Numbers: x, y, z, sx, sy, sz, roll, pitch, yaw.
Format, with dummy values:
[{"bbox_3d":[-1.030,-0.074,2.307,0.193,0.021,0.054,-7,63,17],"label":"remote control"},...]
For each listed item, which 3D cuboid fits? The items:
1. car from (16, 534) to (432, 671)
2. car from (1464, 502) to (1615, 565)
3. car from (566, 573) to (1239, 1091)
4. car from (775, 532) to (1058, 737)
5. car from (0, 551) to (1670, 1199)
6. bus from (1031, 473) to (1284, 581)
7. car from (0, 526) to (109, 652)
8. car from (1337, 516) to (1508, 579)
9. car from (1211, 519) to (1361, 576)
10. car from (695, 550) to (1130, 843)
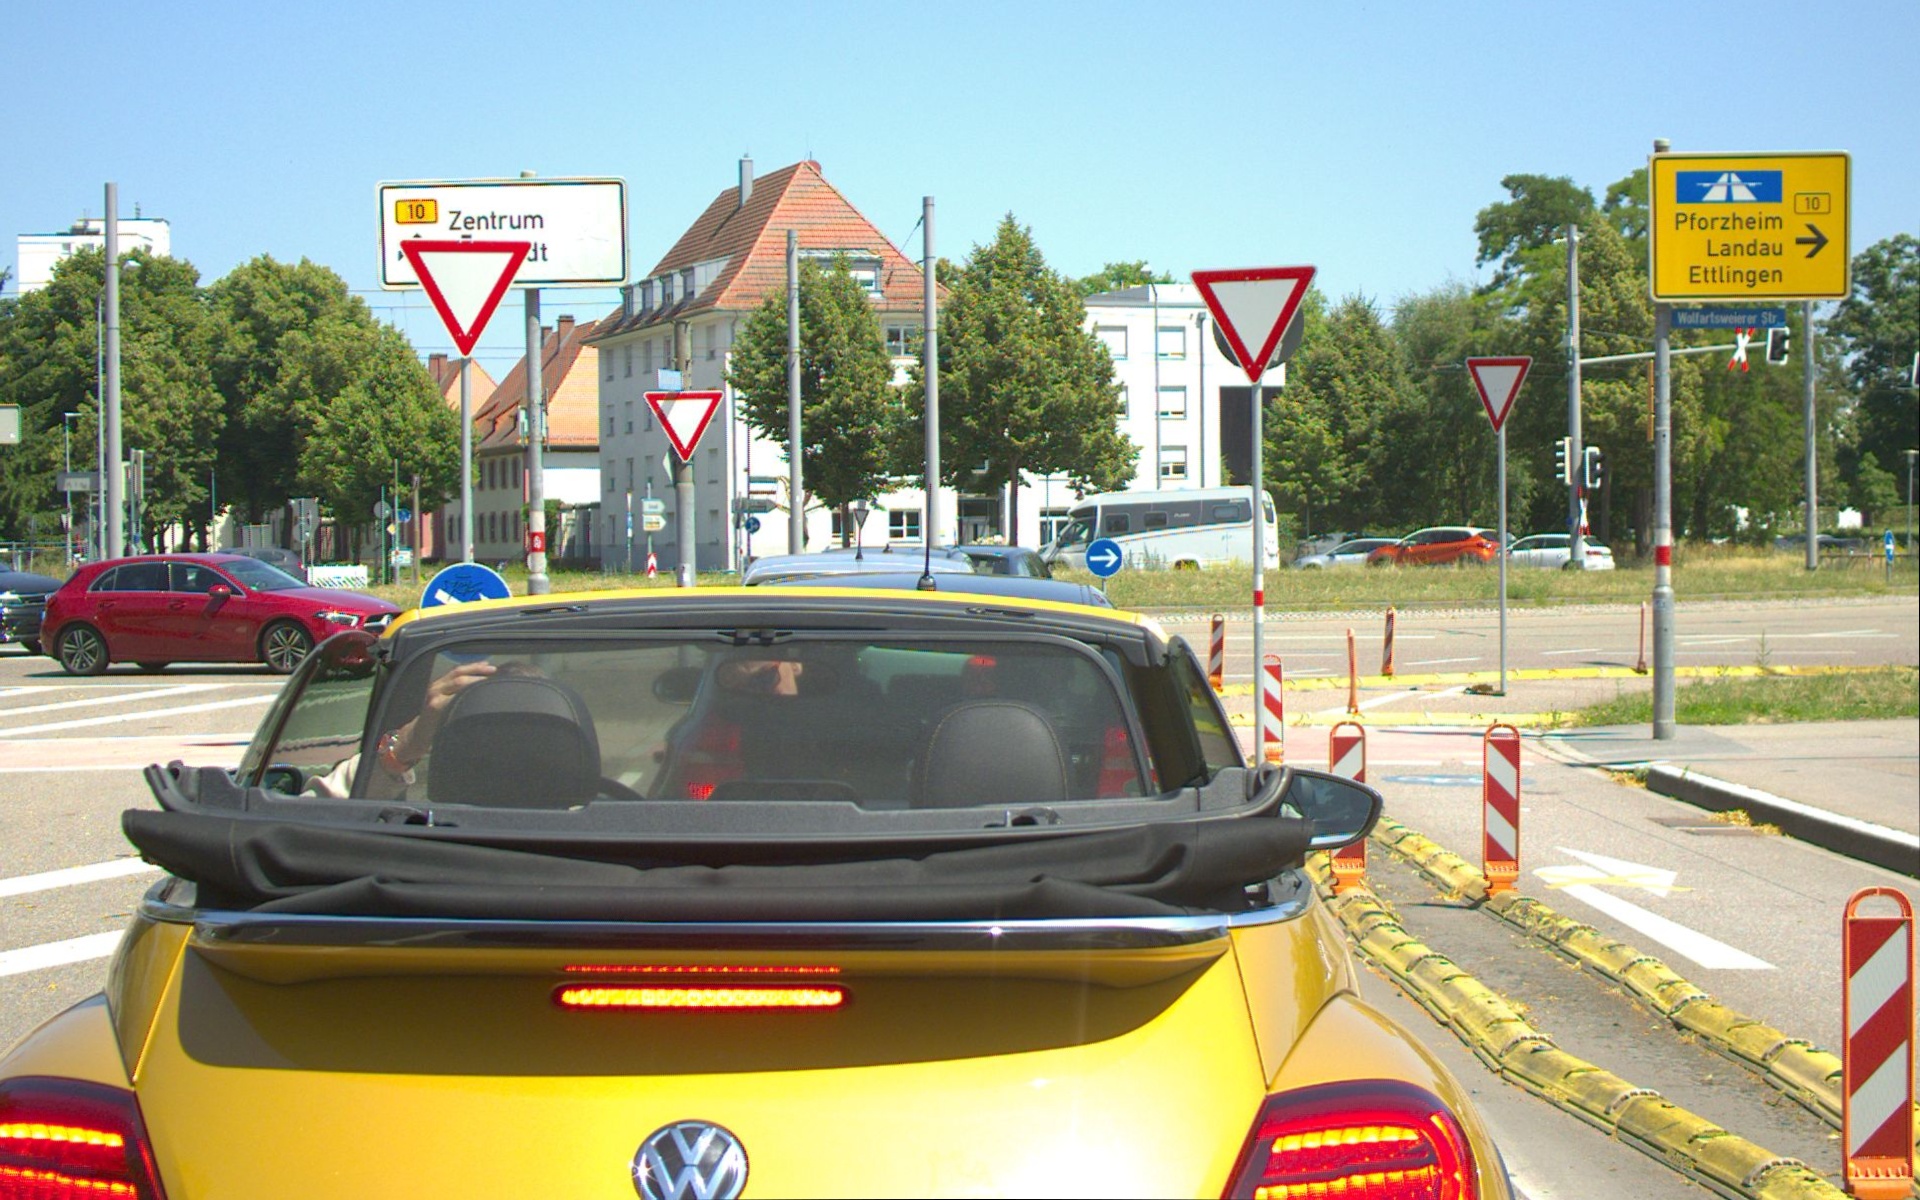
[{"bbox_3d":[-8.747,0.017,40.961,4.408,1.522,1.999,1,1,15],"label":"car"},{"bbox_3d":[16.843,-1.937,99.915,3.992,1.766,1.784,1,1,25],"label":"car"},{"bbox_3d":[-0.182,0.629,11.690,1.851,1.361,4.258,-1,1,-1],"label":"car"},{"bbox_3d":[-0.345,0.208,27.572,2.065,1.476,4.543,-1,1,-1],"label":"car"},{"bbox_3d":[-0.306,0.682,5.086,1.765,1.476,4.258,1,1,-1],"label":"car"},{"bbox_3d":[5.968,-2.202,103.780,7.258,3.161,2.259,1,0,15],"label":"bus"},{"bbox_3d":[-14.229,-0.194,47.774,4.411,1.590,1.997,1,4,27],"label":"car"},{"bbox_3d":[13.103,-1.498,97.516,4.439,1.730,1.845,1,1,34],"label":"car"},{"bbox_3d":[10.253,-1.645,108.039,4.433,1.730,1.847,1,1,15],"label":"car"},{"bbox_3d":[-0.253,0.441,18.616,2.065,1.377,4.258,1,1,-1],"label":"car"}]
